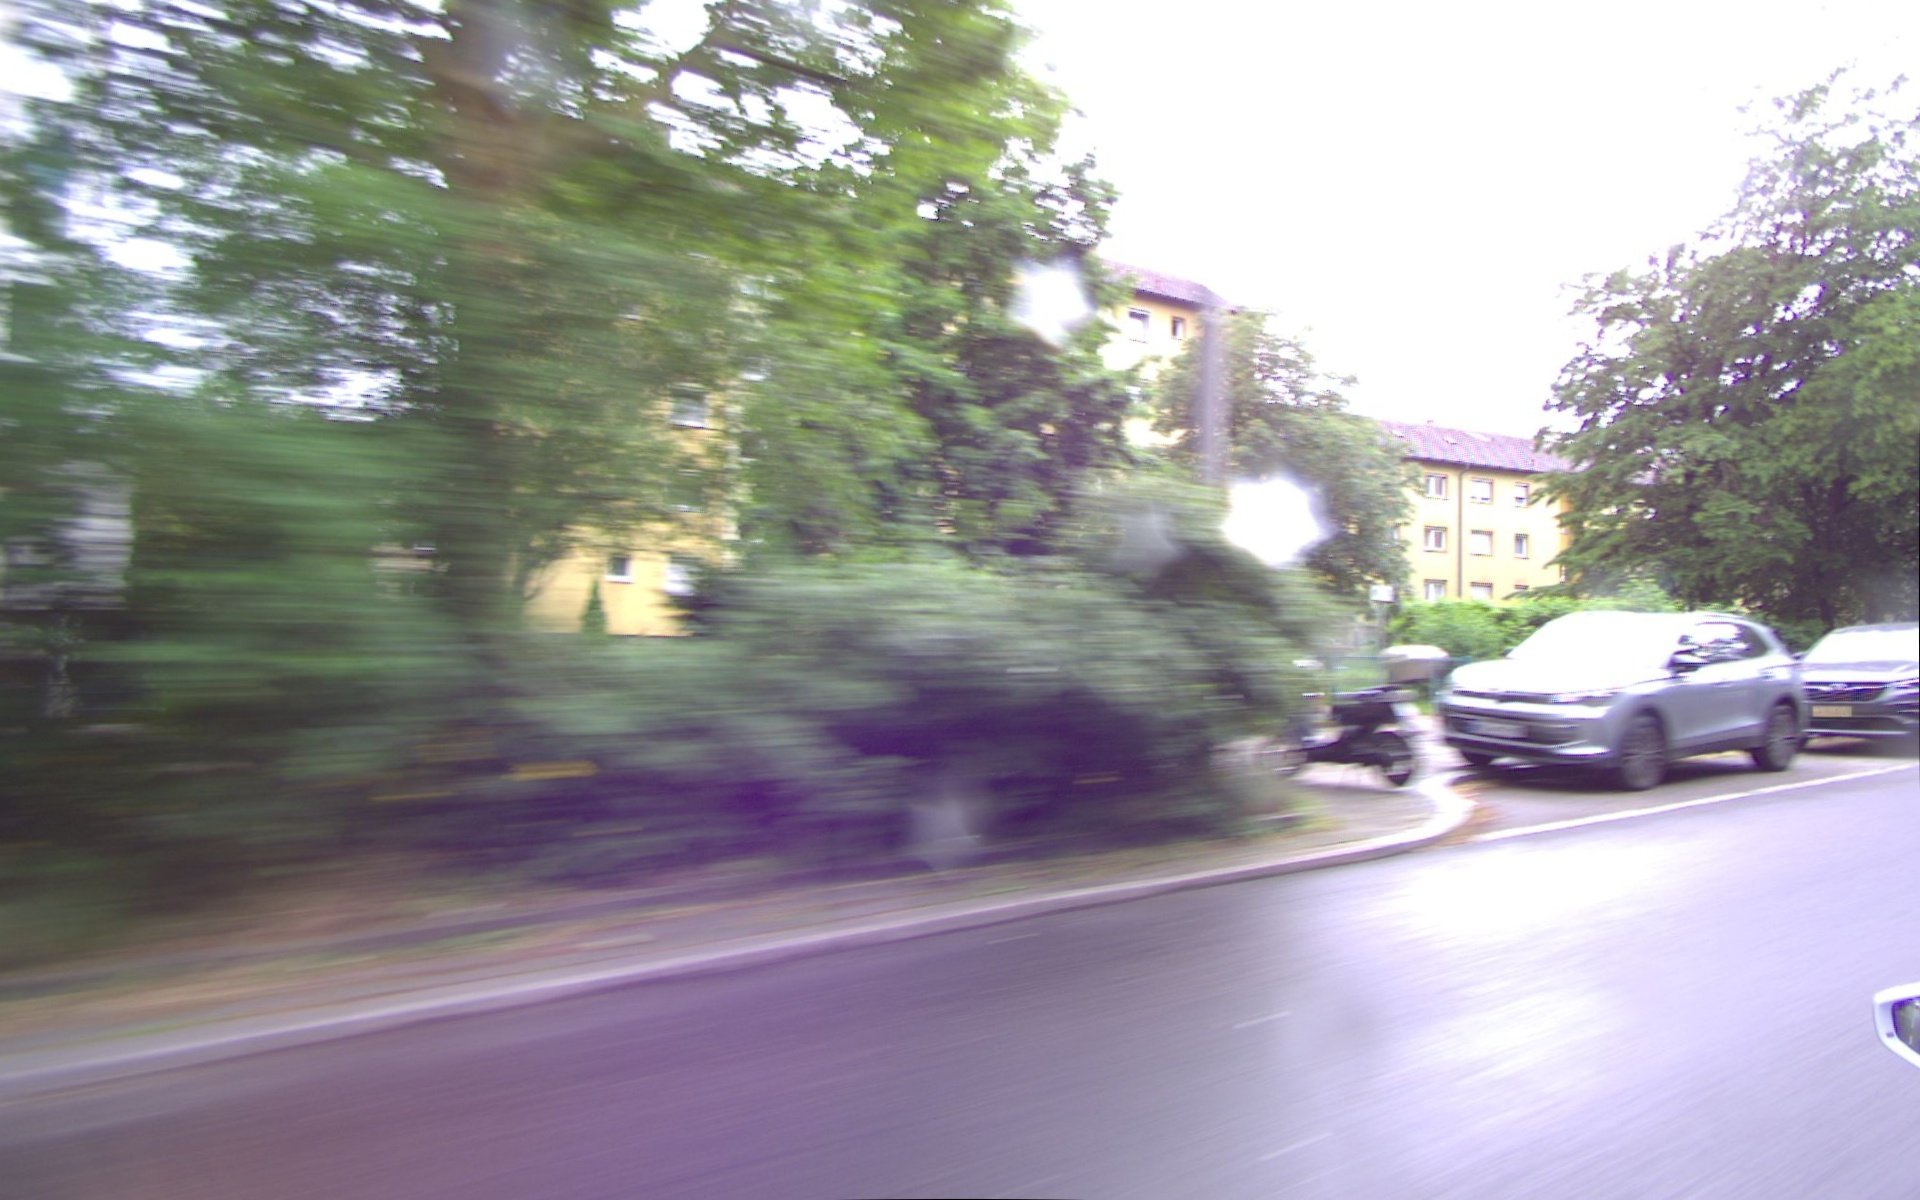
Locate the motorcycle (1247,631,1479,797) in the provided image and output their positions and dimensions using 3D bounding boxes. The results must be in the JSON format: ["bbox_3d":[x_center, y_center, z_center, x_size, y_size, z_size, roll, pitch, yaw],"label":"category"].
[{"bbox_3d":[3.569,0.990,9.090,0.774,1.332,1.832,1,-4,-30],"label":"motorcycle"}]

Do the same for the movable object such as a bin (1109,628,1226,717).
[{"bbox_3d":[3.446,1.173,16.724,1.461,1.398,1.231,1,-2,-28],"label":"movable object such as a bin"}]

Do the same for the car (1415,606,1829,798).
[{"bbox_3d":[7.103,0.985,10.682,4.509,1.678,1.727,1,-5,-29],"label":"car"}]

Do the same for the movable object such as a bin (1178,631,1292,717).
[{"bbox_3d":[4.759,1.255,17.418,1.461,1.398,1.231,1,-2,-28],"label":"movable object such as a bin"}]

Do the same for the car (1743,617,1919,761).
[{"bbox_3d":[12.230,1.089,13.070,4.192,1.612,1.855,1,-4,-32],"label":"car"}]

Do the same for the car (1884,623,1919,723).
[{"bbox_3d":[16.674,1.164,16.013,4.073,1.528,1.665,1,0,-29],"label":"car"}]
